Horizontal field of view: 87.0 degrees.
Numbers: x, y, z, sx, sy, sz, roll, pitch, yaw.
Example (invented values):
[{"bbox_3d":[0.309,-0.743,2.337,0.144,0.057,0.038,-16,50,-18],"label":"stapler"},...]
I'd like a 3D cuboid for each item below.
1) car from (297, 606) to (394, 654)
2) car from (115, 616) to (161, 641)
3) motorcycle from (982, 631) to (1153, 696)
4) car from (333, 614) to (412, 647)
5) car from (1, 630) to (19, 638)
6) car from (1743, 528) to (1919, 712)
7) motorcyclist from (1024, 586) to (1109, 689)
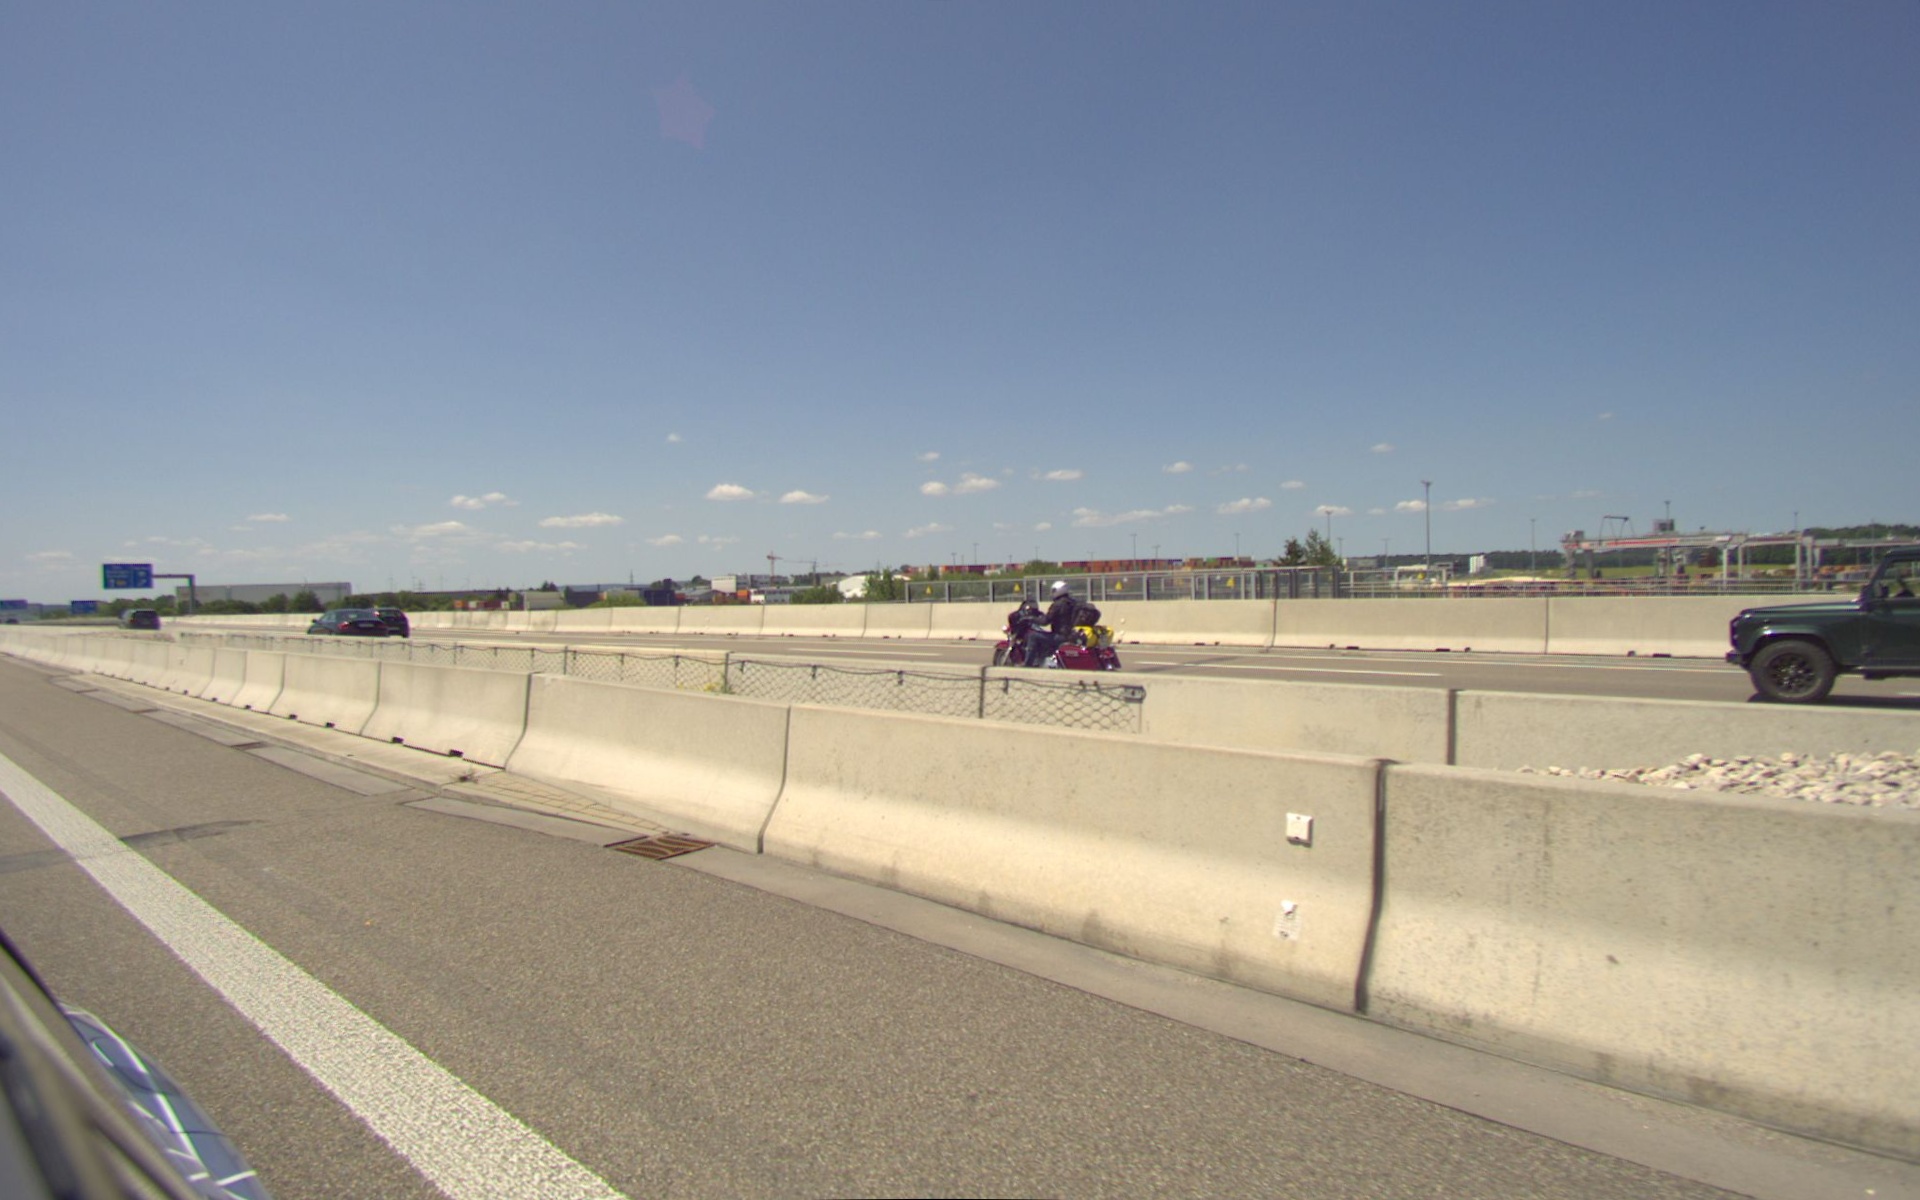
[{"bbox_3d":[-23.396,1.123,38.448,4.649,1.681,1.972,-2,-1,43],"label":"car"},{"bbox_3d":[-57.765,1.988,71.094,5.015,1.699,1.864,-1,0,43],"label":"car"},{"bbox_3d":[1.603,0.938,15.599,2.705,0.909,0.767,-1,-1,43],"label":"motorcycle"},{"bbox_3d":[-27.498,1.417,47.326,4.282,1.470,1.890,-1,-1,41],"label":"car"},{"bbox_3d":[-162.442,5.815,173.080,4.549,1.431,1.890,-2,-1,43],"label":"car"},{"bbox_3d":[11.845,0.202,11.305,4.735,2.033,1.864,-2,-1,43],"label":"car"},{"bbox_3d":[1.643,0.557,15.578,0.923,1.508,0.908,-2,-1,42],"label":"motorcyclist"}]
